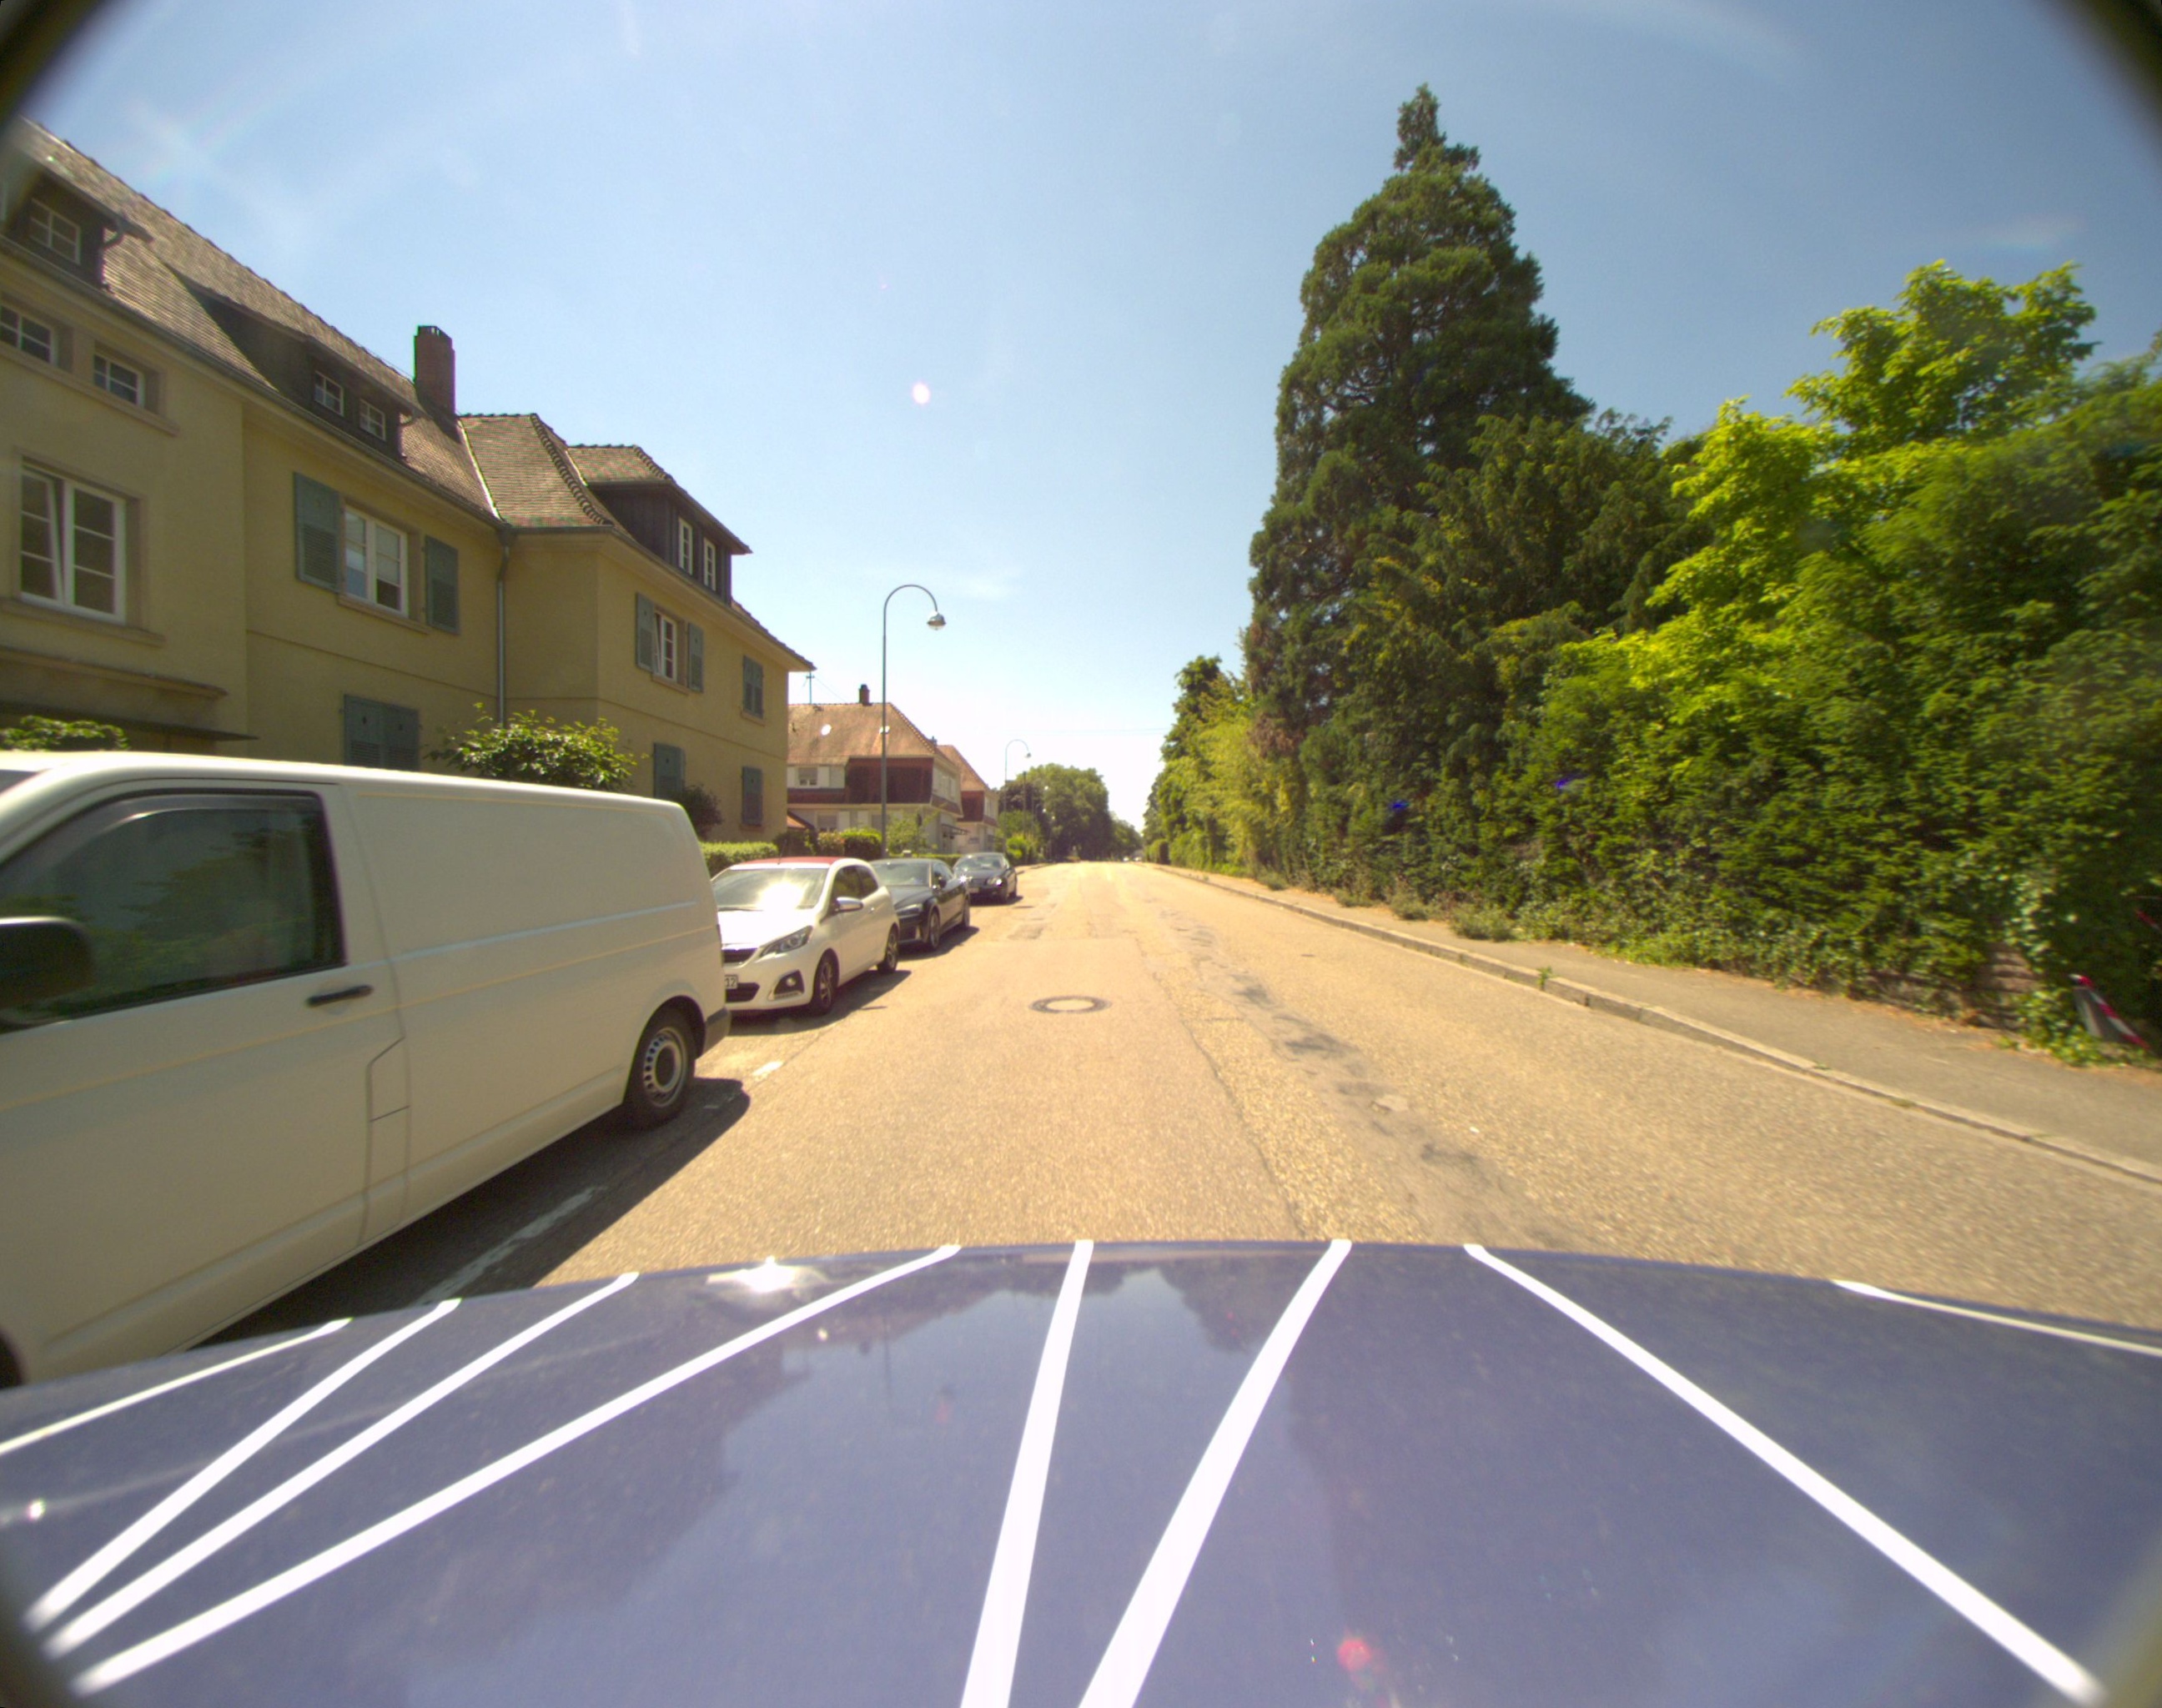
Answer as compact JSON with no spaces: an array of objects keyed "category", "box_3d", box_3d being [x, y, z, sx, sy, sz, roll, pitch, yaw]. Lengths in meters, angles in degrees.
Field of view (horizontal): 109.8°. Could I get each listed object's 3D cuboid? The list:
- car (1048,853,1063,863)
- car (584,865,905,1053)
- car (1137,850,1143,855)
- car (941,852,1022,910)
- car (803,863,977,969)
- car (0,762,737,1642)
[{"category":"car","box_3d":[-4.473,0.693,136.297,1.882,1.623,4.324,1,0,9]},{"category":"car","box_3d":[-3.188,0.891,8.080,1.765,1.443,3.648,-1,1,0]},{"category":"car","box_3d":[18.131,-0.388,233.684,1.684,1.364,4.207,1,0,2]},{"category":"car","box_3d":[-2.776,0.708,22.136,1.697,1.411,4.550,-1,1,0]},{"category":"car","box_3d":[-2.969,0.889,12.860,1.765,1.363,4.606,-1,1,0]},{"category":"car","box_3d":[-3.337,0.771,2.579,1.998,1.890,4.822,-2,1,1]}]
